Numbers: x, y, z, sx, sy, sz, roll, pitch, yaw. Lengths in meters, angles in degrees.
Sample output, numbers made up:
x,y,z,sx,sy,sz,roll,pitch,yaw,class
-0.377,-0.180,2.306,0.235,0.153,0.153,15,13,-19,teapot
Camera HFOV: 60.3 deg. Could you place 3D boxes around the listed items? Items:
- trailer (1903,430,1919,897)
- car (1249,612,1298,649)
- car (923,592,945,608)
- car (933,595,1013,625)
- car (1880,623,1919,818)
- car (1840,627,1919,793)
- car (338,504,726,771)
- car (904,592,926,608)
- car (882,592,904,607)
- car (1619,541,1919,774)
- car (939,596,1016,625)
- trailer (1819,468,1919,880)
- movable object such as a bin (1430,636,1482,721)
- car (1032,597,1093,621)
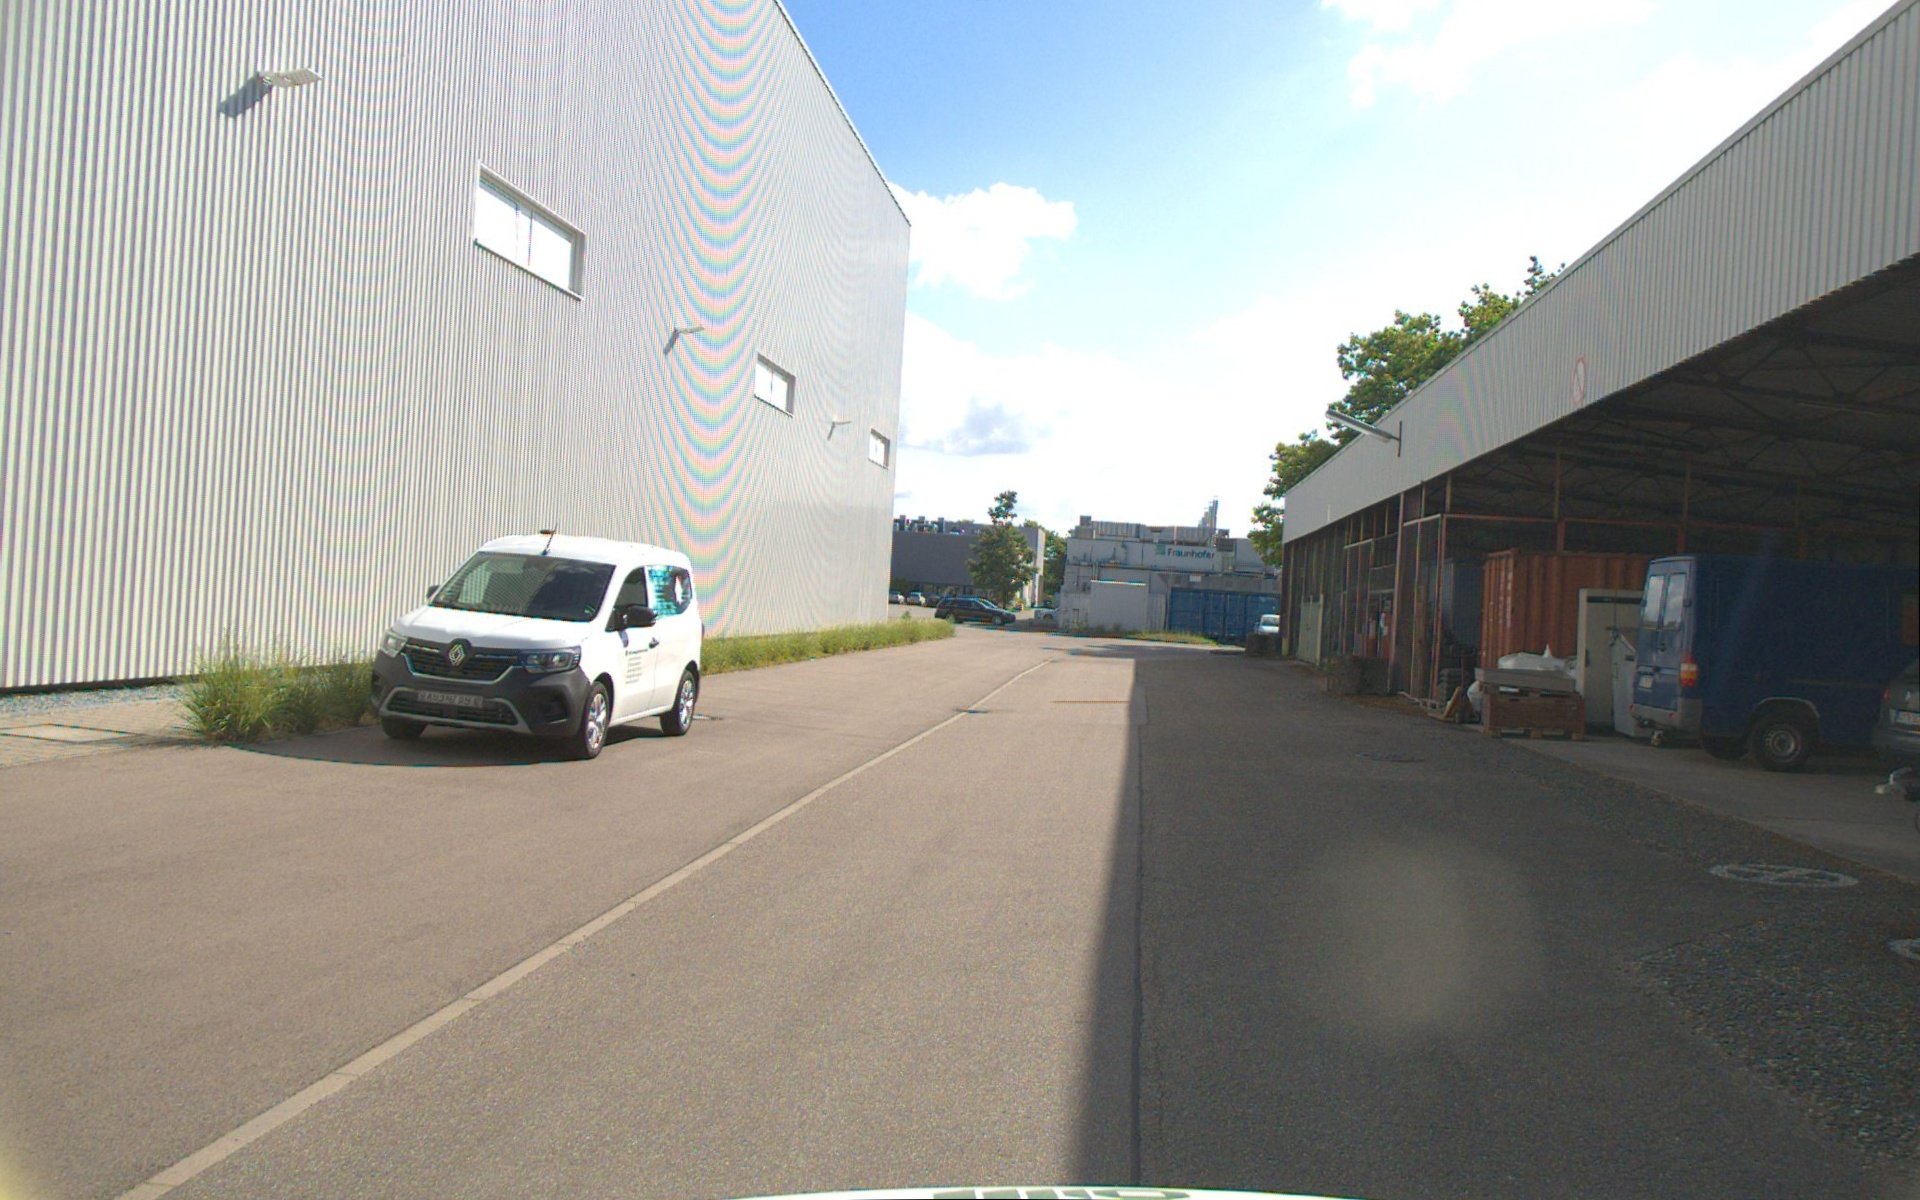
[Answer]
x,y,z,sx,sy,sz,roll,pitch,yaw,class
10.092,0.209,7.378,9.825,3.272,2.856,3,0,6,trailer
15.646,1.500,82.717,1.952,1.613,4.176,3,1,5,car
-3.016,0.014,193.492,2.147,1.766,4.002,2,-1,5,car
0.789,0.575,97.096,4.430,1.534,1.910,3,0,8,car
9.651,1.048,12.596,4.238,1.522,1.778,3,0,4,car
10.768,1.109,15.632,3.905,1.498,1.789,3,0,1,car
-3.604,0.291,14.876,1.851,1.877,4.361,5,0,5,car
-5.328,-0.006,195.453,2.147,1.766,4.002,2,-1,5,car
-7.882,-0.051,195.371,1.951,1.766,4.002,2,-1,5,car
10.312,0.675,18.698,4.874,2.366,2.001,3,0,6,car
1.093,0.613,100.321,4.430,1.534,1.910,3,0,8,car
8.147,0.535,10.134,4.710,2.433,1.828,3,0,11,trailer
7.404,1.157,24.708,0.569,1.184,1.239,2,0,10,movable object such as a bin
7.705,0.694,124.144,4.430,1.534,1.910,3,0,7,car
